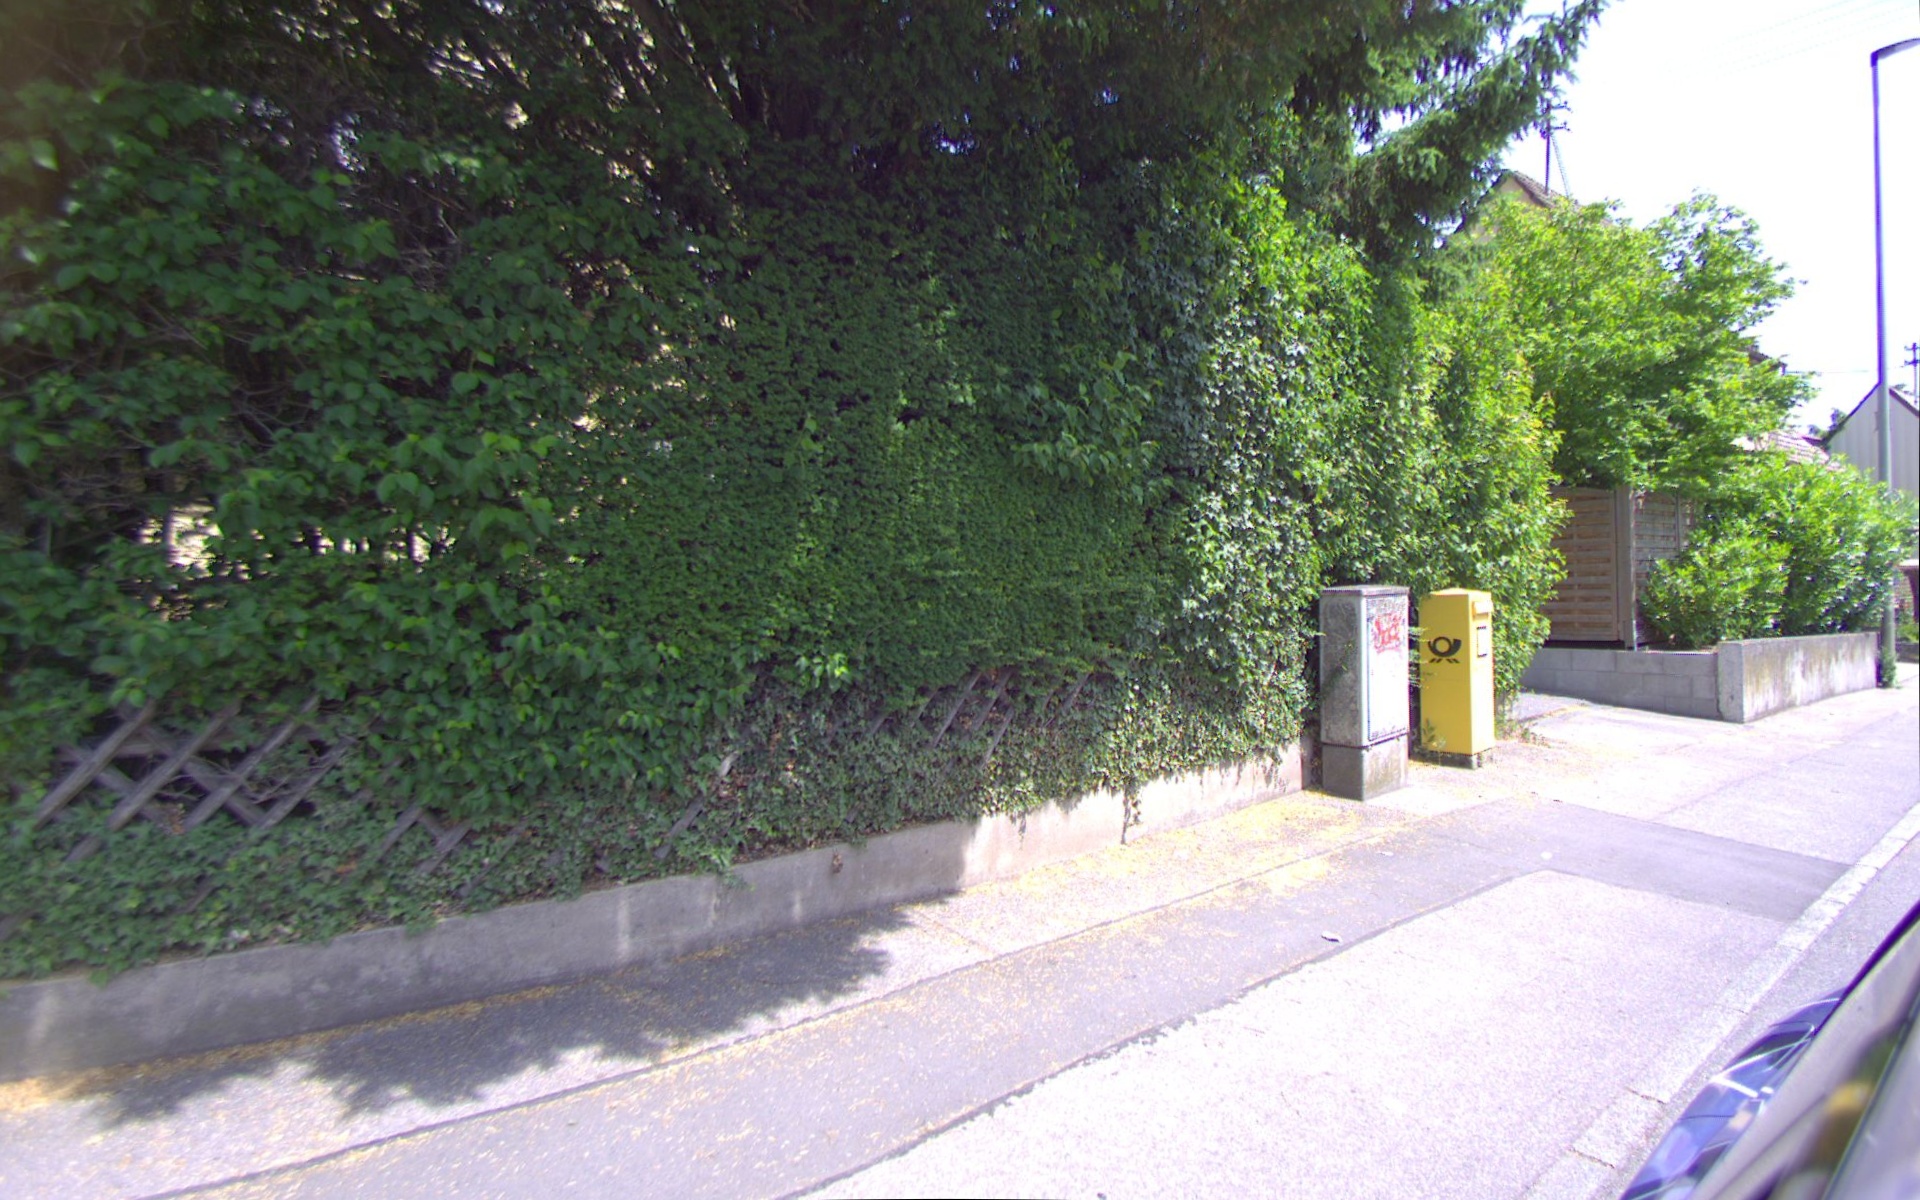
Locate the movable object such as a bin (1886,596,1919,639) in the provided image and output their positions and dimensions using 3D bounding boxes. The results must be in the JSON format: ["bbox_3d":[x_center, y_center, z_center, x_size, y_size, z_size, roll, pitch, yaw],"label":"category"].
[{"bbox_3d":[27.439,0.508,29.457,0.539,1.171,0.536,0,6,-39],"label":"movable object such as a bin"}]
